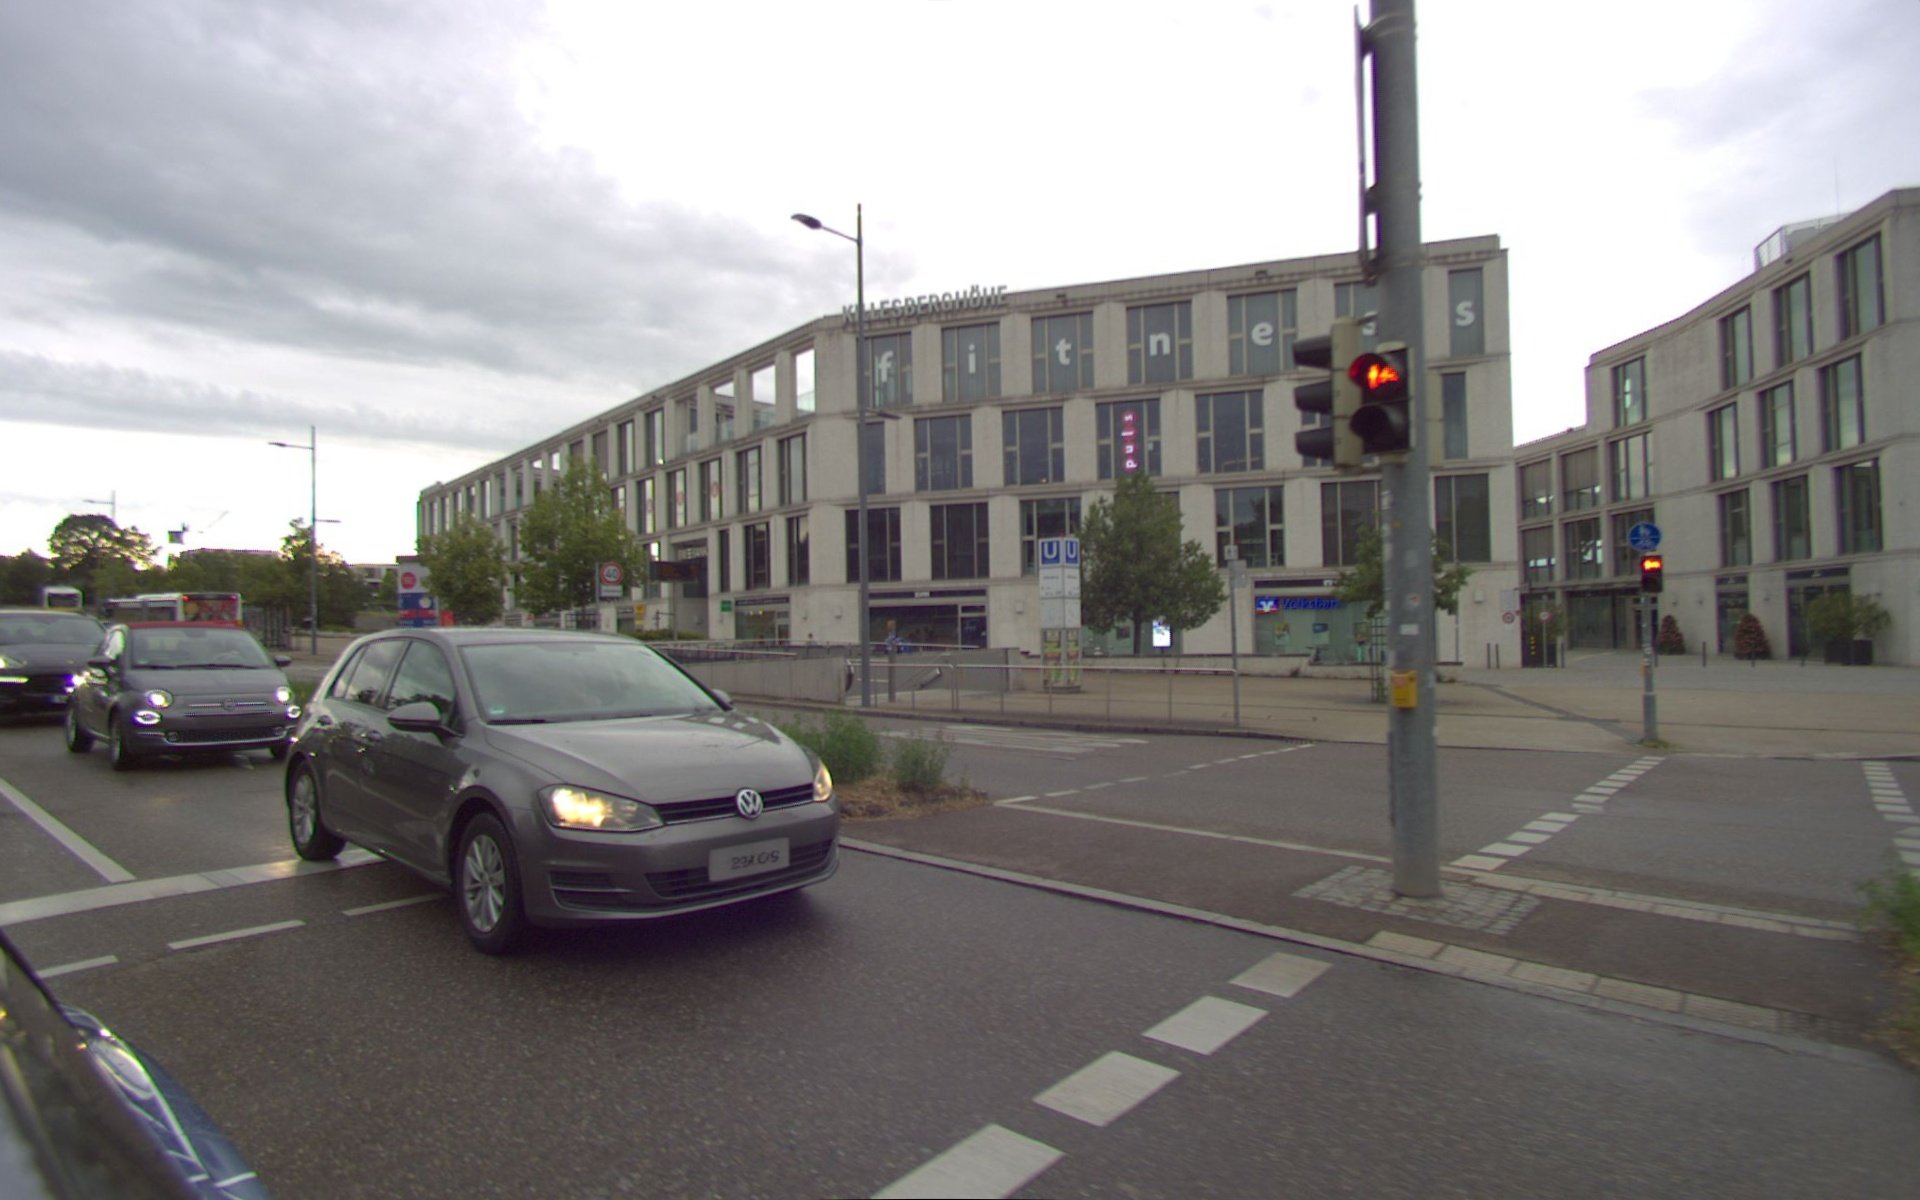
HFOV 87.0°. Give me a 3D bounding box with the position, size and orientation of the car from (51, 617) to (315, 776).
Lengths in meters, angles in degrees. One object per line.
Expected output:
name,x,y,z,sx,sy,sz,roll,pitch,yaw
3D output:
car,-8.739,0.948,11.297,3.503,1.492,1.610,-1,-2,40

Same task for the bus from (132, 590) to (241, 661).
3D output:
bus,-38.451,1.216,50.149,9.206,3.236,2.723,-1,0,42

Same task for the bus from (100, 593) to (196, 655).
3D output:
bus,-45.496,1.310,56.534,9.911,3.205,2.658,-1,0,42

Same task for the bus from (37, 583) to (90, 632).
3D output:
bus,-83.818,0.729,94.867,2.717,4.185,19.382,-1,0,-39

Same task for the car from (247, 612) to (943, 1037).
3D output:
car,-2.310,0.838,5.700,4.374,1.492,1.797,-1,-2,41

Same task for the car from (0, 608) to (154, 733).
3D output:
car,-14.193,0.989,15.506,4.612,1.671,1.910,-1,-2,39

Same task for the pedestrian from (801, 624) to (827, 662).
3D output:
pedestrian,-6.408,1.877,44.477,0.907,1.617,0.760,-1,-2,18

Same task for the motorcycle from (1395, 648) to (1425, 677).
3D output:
motorcycle,13.010,1.802,29.272,0.517,0.746,1.098,-1,0,9
